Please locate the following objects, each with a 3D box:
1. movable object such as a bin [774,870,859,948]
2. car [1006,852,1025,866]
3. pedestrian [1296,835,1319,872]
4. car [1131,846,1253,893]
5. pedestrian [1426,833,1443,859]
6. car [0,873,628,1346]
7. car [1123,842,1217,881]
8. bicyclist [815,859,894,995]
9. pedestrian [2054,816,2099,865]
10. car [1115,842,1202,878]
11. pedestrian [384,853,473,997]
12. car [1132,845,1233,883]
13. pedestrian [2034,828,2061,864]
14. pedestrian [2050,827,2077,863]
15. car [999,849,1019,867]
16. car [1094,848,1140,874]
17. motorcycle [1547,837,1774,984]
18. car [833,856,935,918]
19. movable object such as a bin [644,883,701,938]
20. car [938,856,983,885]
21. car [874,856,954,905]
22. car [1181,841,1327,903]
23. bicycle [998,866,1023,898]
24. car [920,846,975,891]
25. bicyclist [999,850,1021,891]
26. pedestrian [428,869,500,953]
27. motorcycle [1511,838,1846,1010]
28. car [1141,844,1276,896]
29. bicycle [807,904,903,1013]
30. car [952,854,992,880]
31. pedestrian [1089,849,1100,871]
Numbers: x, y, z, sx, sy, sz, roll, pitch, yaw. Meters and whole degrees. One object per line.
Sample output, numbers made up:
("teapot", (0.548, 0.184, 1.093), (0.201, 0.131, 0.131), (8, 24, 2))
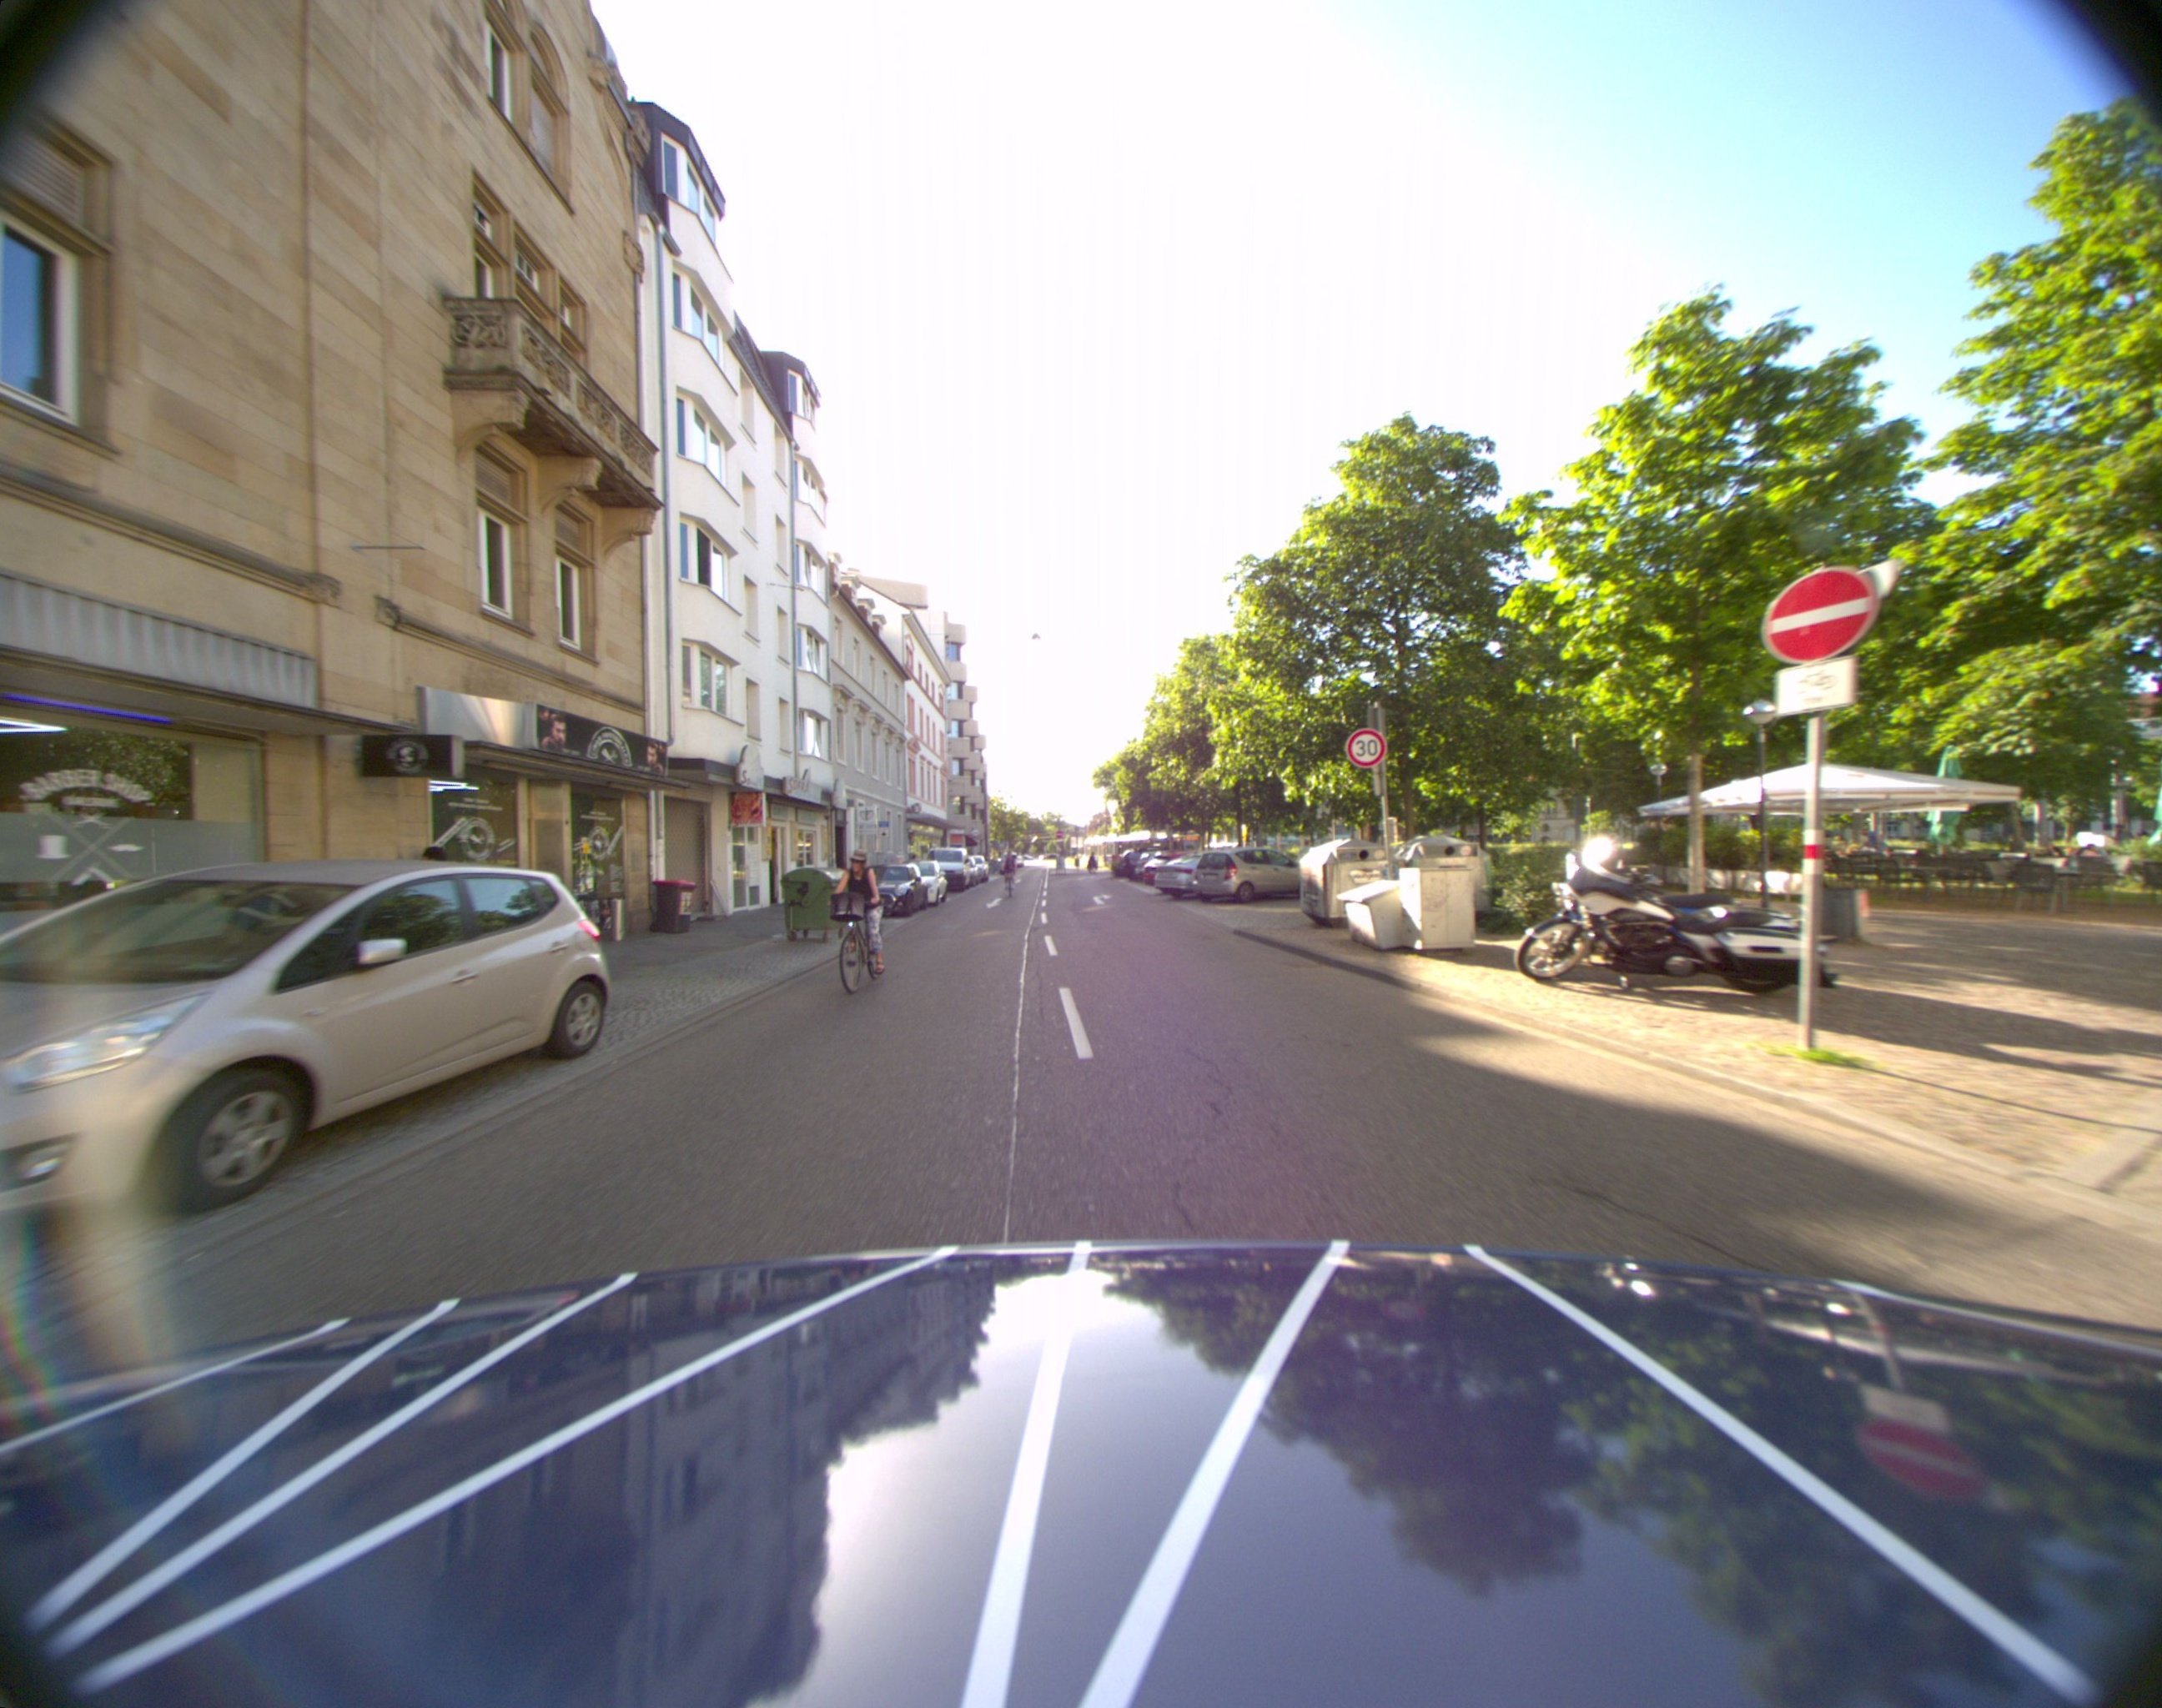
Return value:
("movable object such as a bin", (-5.227, 1.059, 15.100), (1.148, 1.414, 1.411), (1, 1, 1))
("car", (-8.174, 0.609, 95.202), (1.998, 1.494, 3.999), (-2, 1, 0))
("pedestrian", (7.674, -0.026, 25.735), (0.521, 1.250, 0.525), (-2, 1, -36))
("car", (4.104, 0.528, 28.019), (4.005, 1.465, 1.995), (-3, 1, -28))
("pedestrian", (16.986, -0.372, 36.514), (0.527, 1.250, 0.519), (-2, 1, -20))
("car", (-4.983, 0.976, 4.719), (1.979, 1.565, 4.125), (0, 1, -2))
("car", (4.311, 0.311, 36.914), (4.004, 1.635, 2.099), (-3, 3, -22))
("bicyclist", (-2.774, 0.857, 9.375), (0.658, 1.562, 0.908), (-2, 1, -2))
("pedestrian", (28.172, -0.382, 21.505), (0.567, 1.349, 0.572), (-2, 1, -12))
("car", (4.044, 0.282, 39.584), (4.004, 1.684, 1.996), (-3, 1, -21))
("pedestrian", (-8.240, 0.869, 9.615), (0.536, 1.732, 0.597), (-2, 1, -7))
("car", (4.551, 0.414, 34.240), (4.002, 1.465, 1.997), (-2, 1, -15))
("pedestrian", (25.873, -0.207, 20.337), (0.366, 0.947, 0.383), (-2, 1, -27))
("pedestrian", (26.496, -0.234, 20.491), (0.384, 0.947, 0.365), (-2, 1, -23))
("car", (-8.297, 0.417, 88.276), (1.999, 2.002, 3.998), (-2, 1, -2))
("car", (2.236, 0.389, 45.851), (1.772, 1.421, 4.004), (-2, 1, 17))
("motorcycle", (6.055, 0.565, 8.083), (1.750, 1.415, 0.830), (-2, 1, 24))
("car", (-5.502, 0.863, 21.719), (1.999, 1.565, 3.998), (0, 1, -2))
("movable object such as a bin", (-8.240, 1.132, 15.352), (0.725, 1.042, 0.663), (1, -1, 8))
("car", (-6.326, 0.838, 40.316), (1.999, 1.444, 3.868), (0, 1, -4))
("car", (-5.578, 0.837, 25.854), (1.999, 1.483, 3.998), (0, 1, -2))
("car", (5.203, 0.487, 22.698), (4.006, 1.553, 1.995), (-3, 1, -34))
("bicycle", (-2.753, 1.087, 29.978), (0.718, 1.106, 2.269), (-2, 1, 0))
("car", (-6.075, 0.602, 35.197), (1.999, 1.942, 5.098), (0, 1, -4))
("bicyclist", (-2.767, 0.641, 29.591), (0.718, 1.553, 0.864), (-2, 1, 0))
("pedestrian", (-11.062, 1.002, 13.629), (0.693, 1.415, 0.817), (1, 1, 34))
("motorcycle", (5.474, 0.606, 7.224), (2.316, 1.415, 1.002), (-2, 1, 25))
("car", (4.202, 0.483, 24.872), (4.006, 1.434, 1.995), (-3, 1, -34))
("bicycle", (-2.768, 1.244, 9.504), (0.666, 1.061, 1.835), (-2, 1, -2))
("car", (-6.427, 0.724, 45.164), (1.999, 1.444, 3.953), (0, 1, -4))
("pedestrian", (1.008, 0.437, 55.654), (0.691, 1.578, 0.615), (-2, 1, 8))
